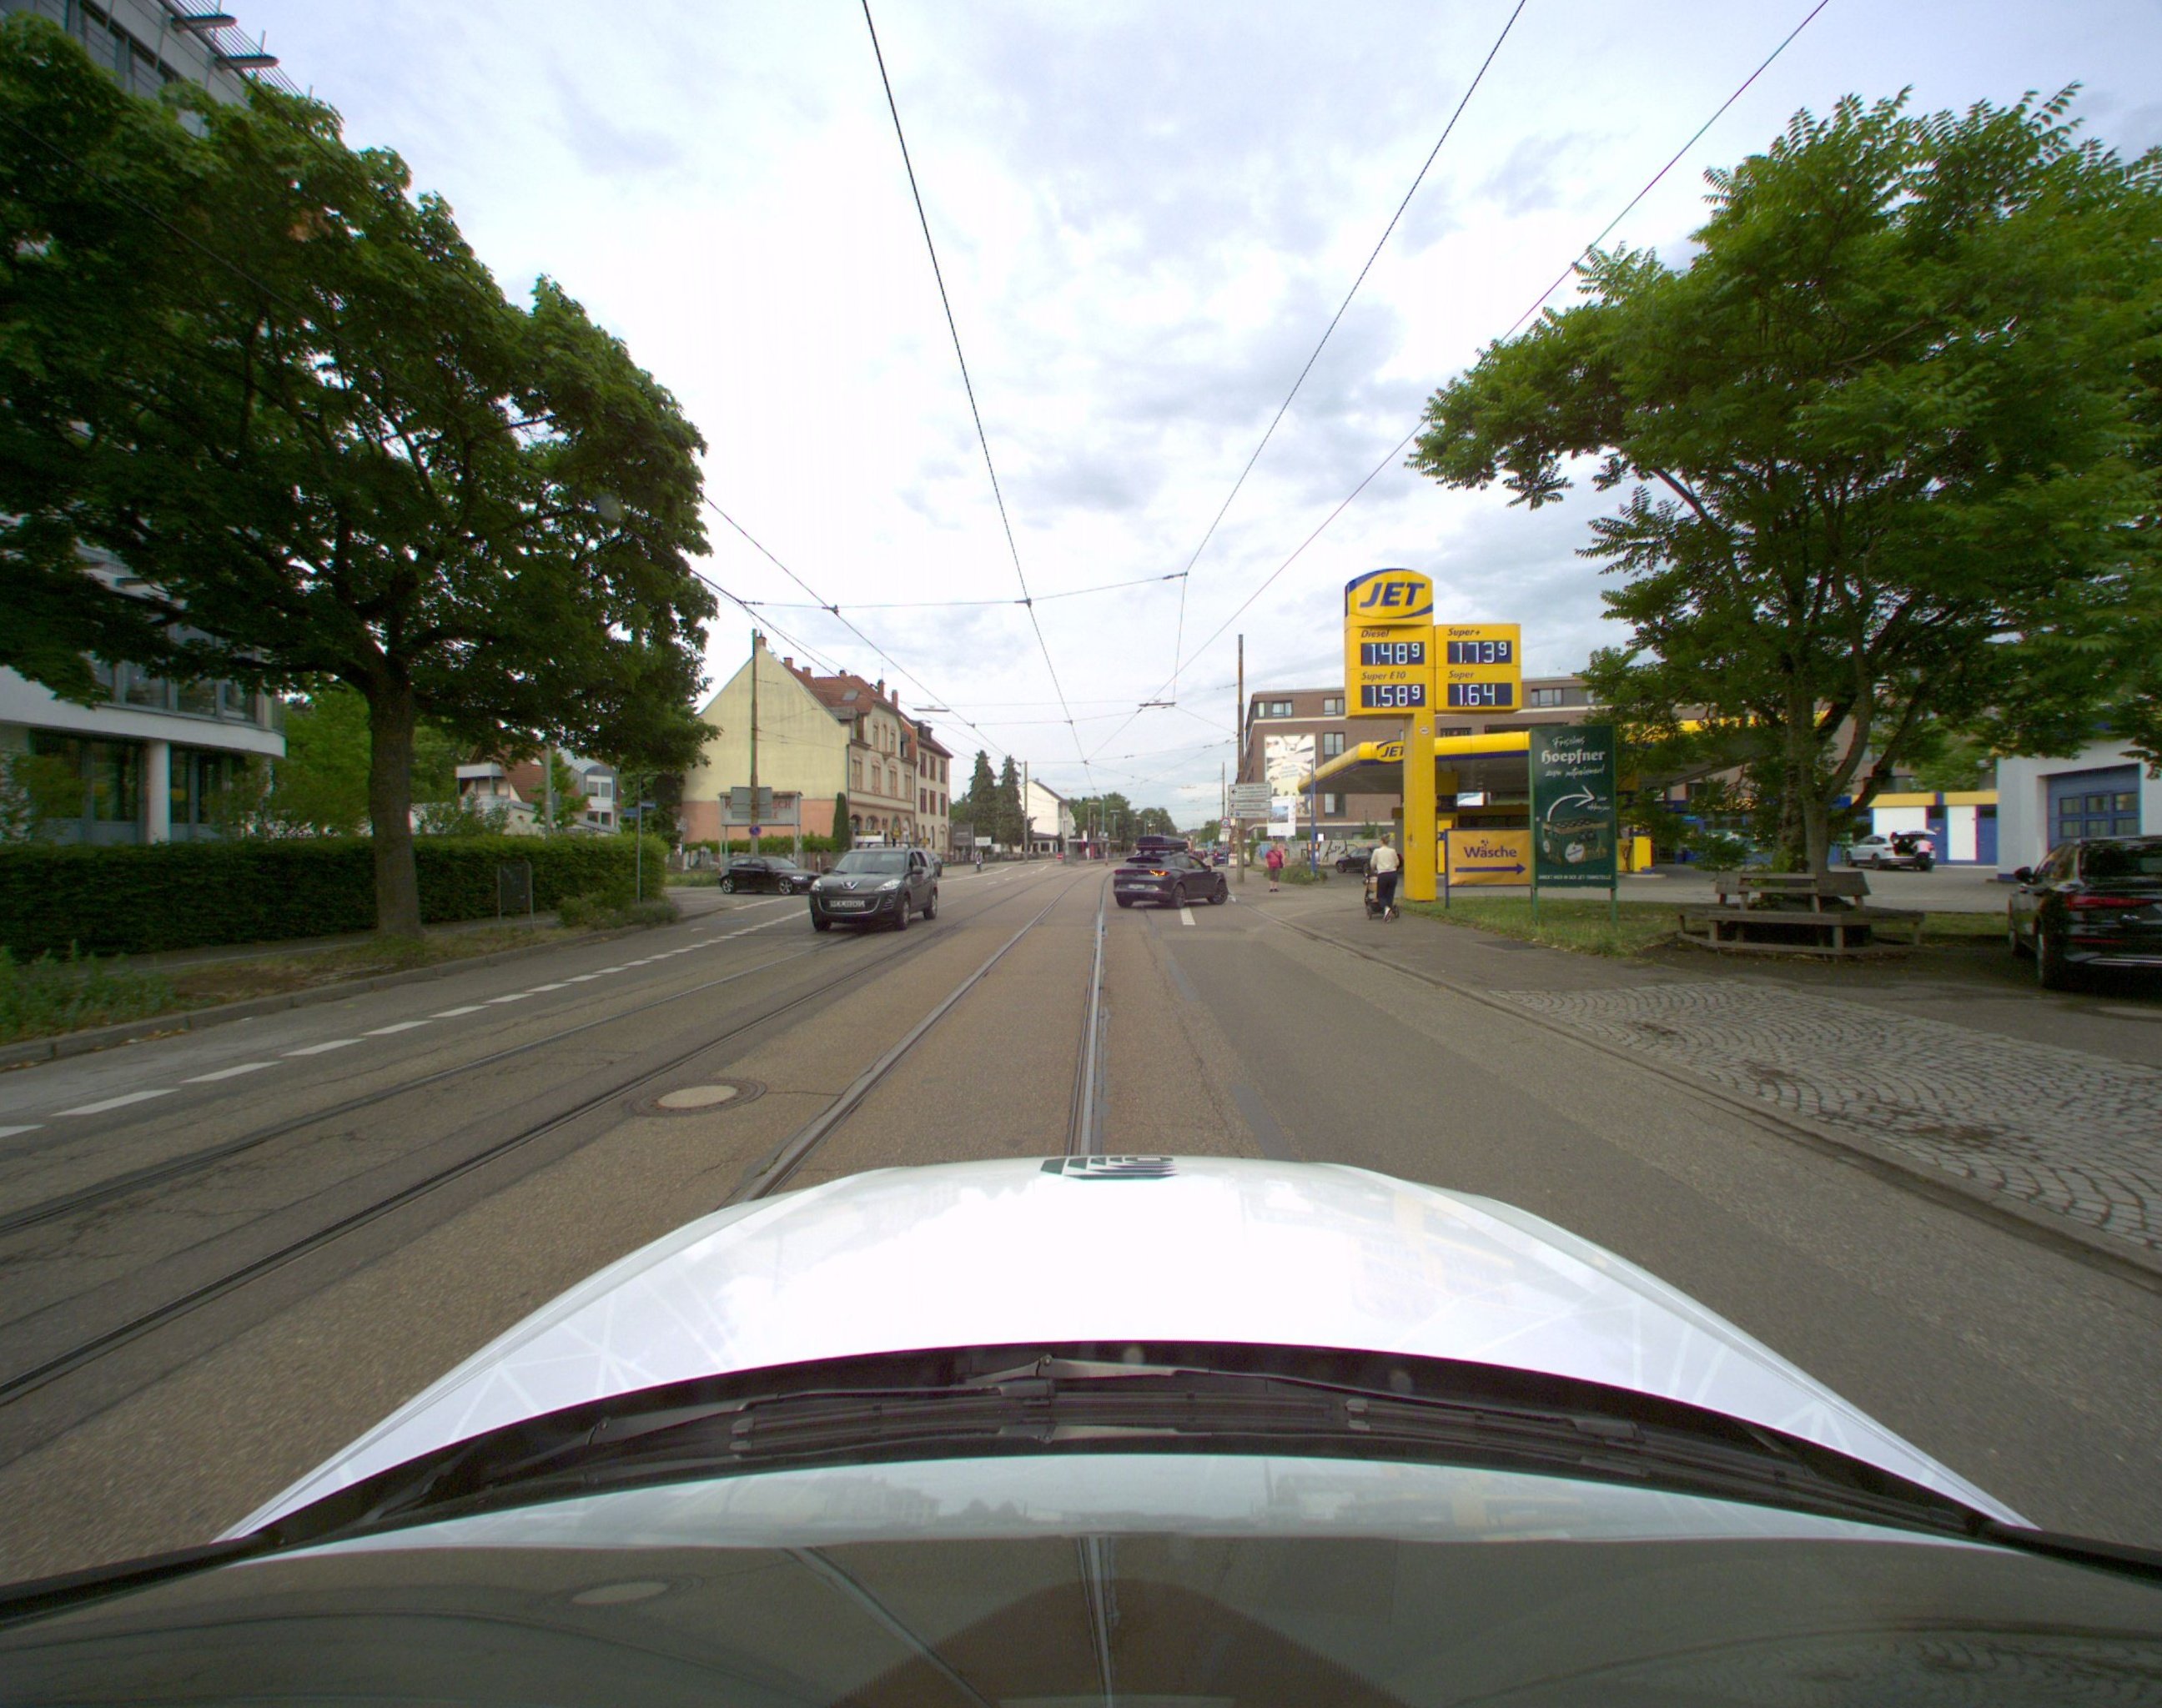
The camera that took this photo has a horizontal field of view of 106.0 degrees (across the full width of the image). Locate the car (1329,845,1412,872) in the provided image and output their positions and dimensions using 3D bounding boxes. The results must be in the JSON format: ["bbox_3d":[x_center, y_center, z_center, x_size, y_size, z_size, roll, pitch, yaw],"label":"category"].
[{"bbox_3d":[16.040,0.227,45.379,1.950,1.427,4.861,-1,0,-15],"label":"car"}]

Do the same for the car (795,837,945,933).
[{"bbox_3d":[-4.210,0.572,17.009,1.820,1.737,4.338,-1,0,3],"label":"car"}]

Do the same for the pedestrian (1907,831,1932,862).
[{"bbox_3d":[36.574,-0.314,35.528,0.573,1.347,0.615,1,-1,26],"label":"pedestrian"}]

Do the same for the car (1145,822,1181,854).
[{"bbox_3d":[4.757,-0.887,47.658,1.960,1.756,3.841,1,0,3],"label":"car"}]

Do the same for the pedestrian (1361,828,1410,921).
[{"bbox_3d":[6.155,0.400,16.510,0.762,1.797,1.167,-3,0,16],"label":"pedestrian"}]

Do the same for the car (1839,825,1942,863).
[{"bbox_3d":[37.633,-0.429,38.010,1.818,1.638,4.502,1,0,22],"label":"car"}]

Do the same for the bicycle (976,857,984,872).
[{"bbox_3d":[-7.574,0.758,60.970,0.586,1.074,1.951,-2,0,-8],"label":"bicycle"}]

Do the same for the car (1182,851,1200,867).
[{"bbox_3d":[14.522,0.691,107.923,1.986,2.014,4.002,1,0,2],"label":"car"}]

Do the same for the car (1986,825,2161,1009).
[{"bbox_3d":[10.383,0.453,7.909,4.611,1.407,1.911,-3,1,-45],"label":"car"}]

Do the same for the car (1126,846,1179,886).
[{"bbox_3d":[2.885,0.452,33.693,1.974,1.550,4.185,1,0,2],"label":"car"}]

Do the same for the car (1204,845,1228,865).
[{"bbox_3d":[12.759,0.107,77.149,1.865,1.823,4.102,1,0,5],"label":"car"}]

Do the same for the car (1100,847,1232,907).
[{"bbox_3d":[2.489,0.575,22.774,1.971,1.497,4.353,0,0,31],"label":"car"}]

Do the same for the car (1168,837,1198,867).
[{"bbox_3d":[8.613,-0.192,69.058,2.206,2.423,4.957,1,0,4],"label":"car"}]

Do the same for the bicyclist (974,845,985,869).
[{"bbox_3d":[-7.592,0.195,60.975,0.735,1.749,0.976,-2,0,-8],"label":"bicyclist"}]

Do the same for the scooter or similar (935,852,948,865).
[{"bbox_3d":[-12.502,0.411,73.079,1.055,1.188,0.315,1,-1,-30],"label":"scooter or similar"}]

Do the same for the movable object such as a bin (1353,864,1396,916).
[{"bbox_3d":[6.336,0.773,17.603,0.762,1.039,1.028,-3,0,16],"label":"movable object such as a bin"}]

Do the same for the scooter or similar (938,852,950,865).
[{"bbox_3d":[-12.219,0.411,72.715,1.055,1.188,0.315,1,-1,-30],"label":"scooter or similar"}]

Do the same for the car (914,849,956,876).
[{"bbox_3d":[-9.905,0.558,55.535,1.836,1.718,4.197,1,0,4],"label":"car"}]

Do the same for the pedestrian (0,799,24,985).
[{"bbox_3d":[-12.131,0.407,8.559,0.706,2.014,0.993,1,0,8],"label":"pedestrian"}]

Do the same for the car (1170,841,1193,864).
[{"bbox_3d":[9.655,-0.143,78.534,2.129,2.145,4.750,1,0,5],"label":"car"}]

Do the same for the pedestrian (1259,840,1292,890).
[{"bbox_3d":[7.108,0.399,29.775,0.967,1.738,0.862,-3,-1,5],"label":"pedestrian"}]

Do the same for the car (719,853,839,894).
[{"bbox_3d":[-11.028,0.683,29.778,3.885,1.388,1.812,0,0,22],"label":"car"}]
